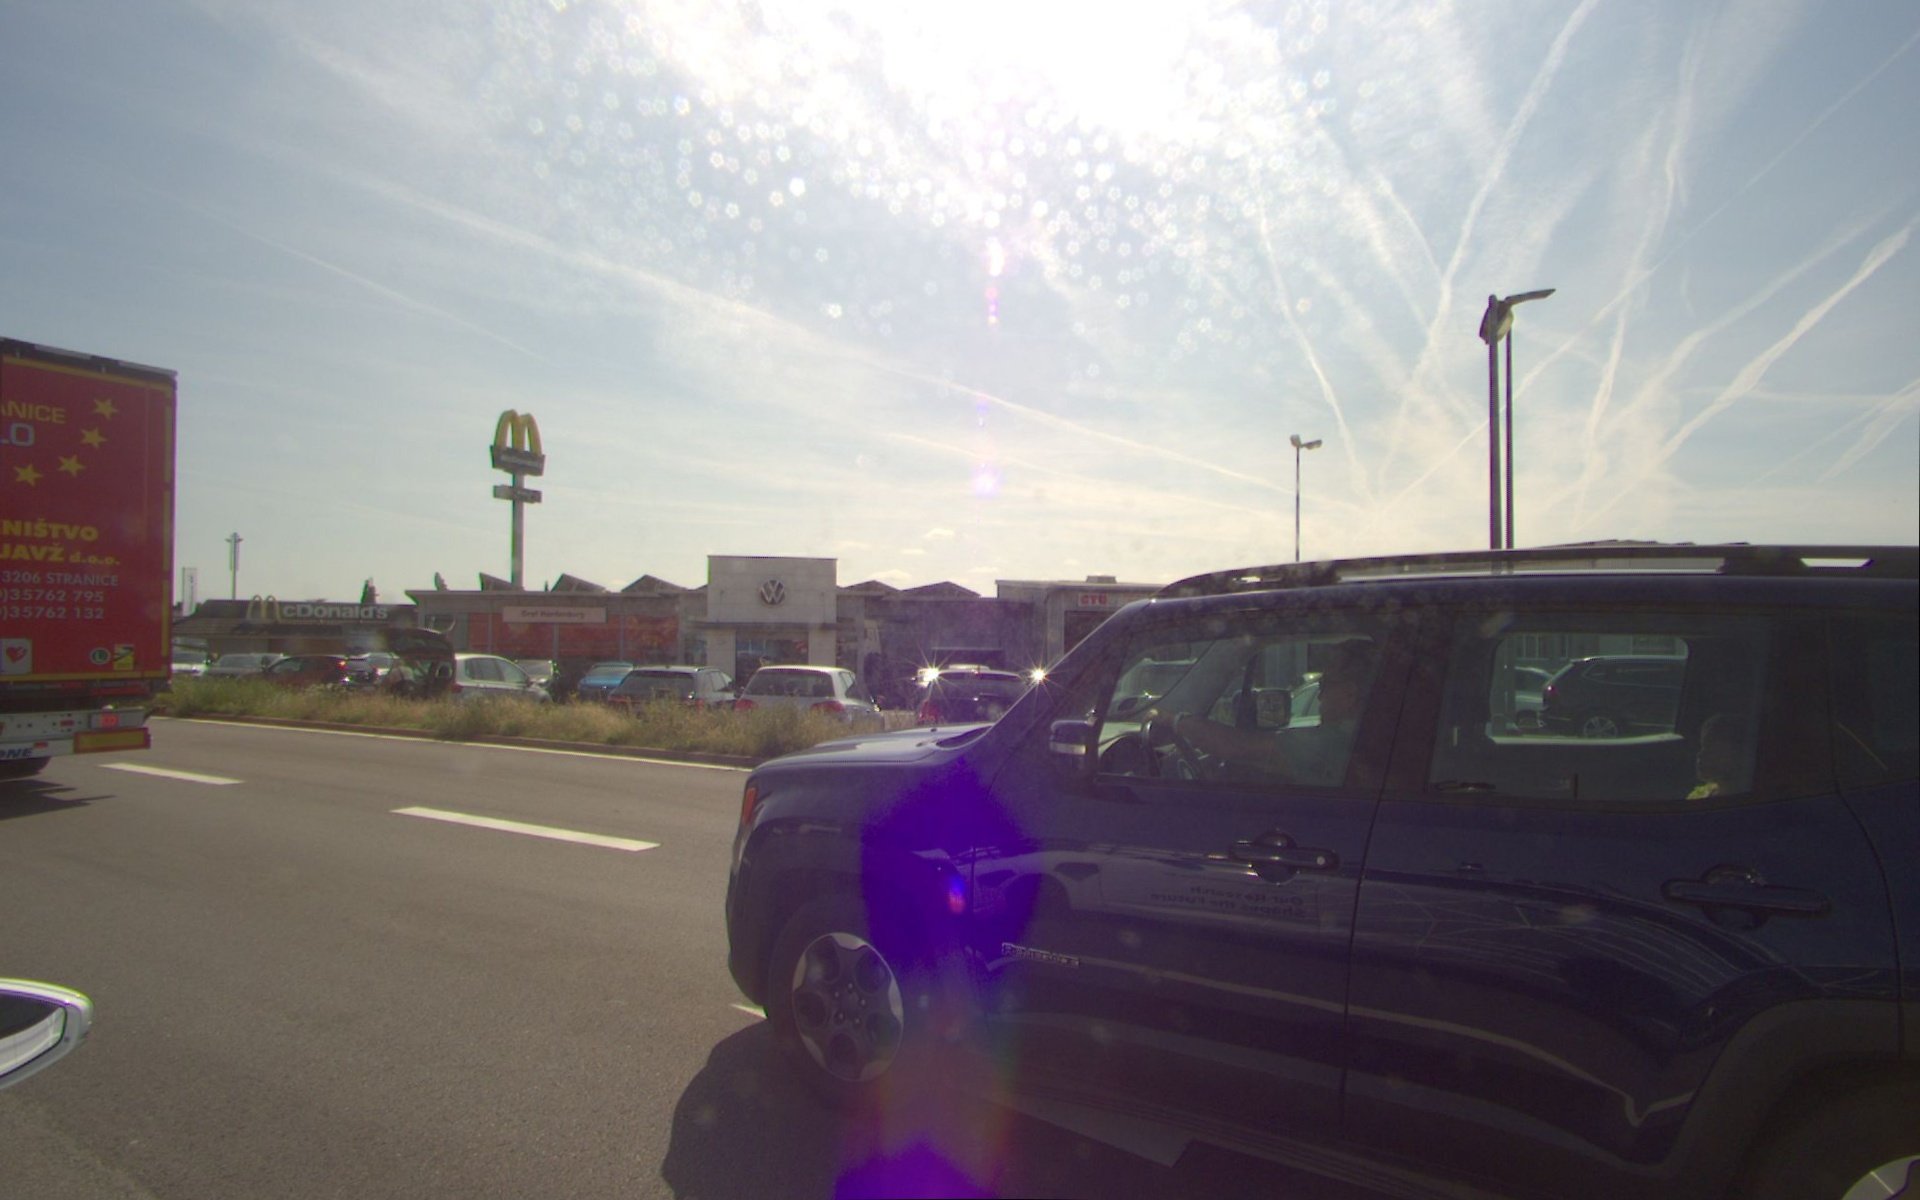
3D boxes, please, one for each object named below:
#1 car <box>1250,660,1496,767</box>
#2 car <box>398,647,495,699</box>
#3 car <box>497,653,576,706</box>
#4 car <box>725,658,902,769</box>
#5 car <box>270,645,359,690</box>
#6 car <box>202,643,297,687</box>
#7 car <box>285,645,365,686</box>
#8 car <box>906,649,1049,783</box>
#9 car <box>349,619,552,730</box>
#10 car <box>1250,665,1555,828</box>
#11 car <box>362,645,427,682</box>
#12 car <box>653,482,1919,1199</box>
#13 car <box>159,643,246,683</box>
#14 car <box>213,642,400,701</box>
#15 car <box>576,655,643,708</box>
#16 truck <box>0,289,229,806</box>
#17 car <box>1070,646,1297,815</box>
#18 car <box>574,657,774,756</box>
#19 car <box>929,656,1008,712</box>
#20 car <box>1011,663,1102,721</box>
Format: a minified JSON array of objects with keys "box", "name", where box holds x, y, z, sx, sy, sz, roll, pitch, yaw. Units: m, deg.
[{"box":[8.018,2.103,19.536,4.173,1.777,1.899,-1,-2,33],"name":"car"},{"box":[-16.578,2.331,32.537,1.964,1.550,3.996,1,-2,-15],"name":"car"},{"box":[-13.865,2.565,32.999,1.771,1.550,4.223,1,-2,-15],"name":"car"},{"box":[-2.122,1.650,15.555,1.670,1.417,3.847,0,-2,8],"name":"car"},{"box":[-23.550,2.427,36.661,1.656,1.550,3.593,1,-2,-15],"name":"car"},{"box":[-27.056,2.454,38.253,1.737,1.550,3.626,1,-2,-15],"name":"car"},{"box":[-25.450,2.605,40.270,1.656,1.550,3.593,1,-2,-15],"name":"car"},{"box":[0.211,1.488,14.042,1.705,1.555,4.040,1,-2,0],"name":"car"},{"box":[-9.775,1.384,19.586,1.669,1.945,3.848,0,-2,7],"name":"car"},{"box":[4.751,1.508,11.447,1.705,1.420,4.040,1,-2,0],"name":"car"},{"box":[-25.449,2.831,45.175,1.656,1.550,3.593,1,-2,-15],"name":"car"},{"box":[1.085,0.682,3.151,3.943,1.707,1.816,-1,-1,32],"name":"car"},{"box":[-31.178,2.569,41.319,1.733,1.550,3.262,1,-2,-15],"name":"car"},{"box":[-18.174,1.965,27.968,3.922,1.550,2.001,1,-2,3],"name":"car"},{"box":[-11.531,2.636,33.125,1.671,1.577,3.783,1,-2,-13],"name":"car"},{"box":[-14.897,-0.330,12.801,16.342,4.324,2.953,-1,-2,32],"name":"truck"},{"box":[2.347,1.332,11.520,1.705,1.555,4.040,1,-2,0],"name":"car"},{"box":[-4.758,1.733,17.249,1.671,1.417,3.845,0,-2,13],"name":"car"},{"box":[0.193,2.625,30.616,1.706,1.553,3.766,1,-7,-11],"name":"car"},{"box":[2.875,2.764,30.653,1.706,1.555,4.036,1,-2,-11],"name":"car"}]
